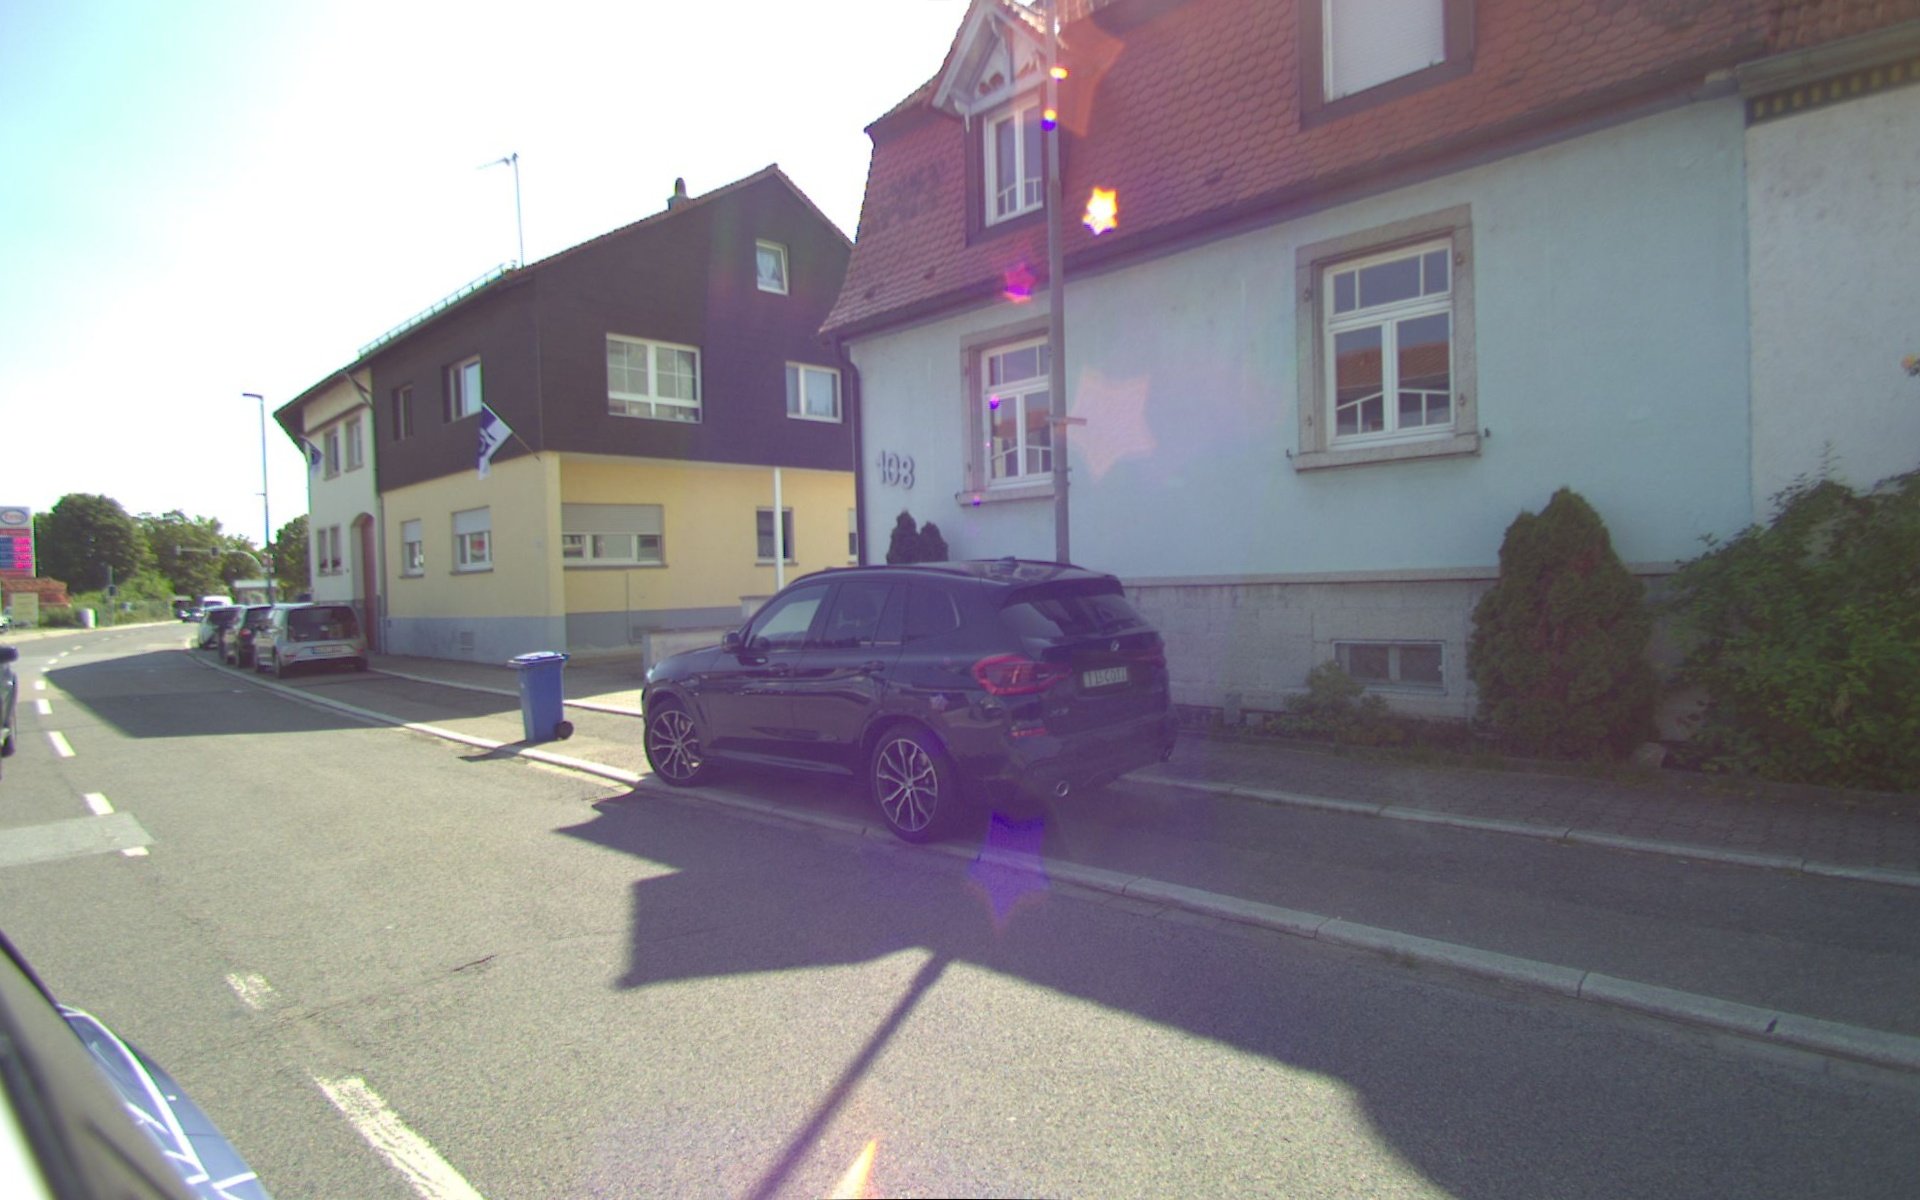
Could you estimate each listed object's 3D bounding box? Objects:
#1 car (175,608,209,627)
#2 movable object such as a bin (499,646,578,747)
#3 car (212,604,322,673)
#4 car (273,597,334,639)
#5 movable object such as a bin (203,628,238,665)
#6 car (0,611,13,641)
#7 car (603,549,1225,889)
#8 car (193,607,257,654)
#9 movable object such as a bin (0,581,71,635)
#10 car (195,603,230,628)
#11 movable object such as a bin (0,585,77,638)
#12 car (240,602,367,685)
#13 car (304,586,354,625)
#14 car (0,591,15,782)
[{"bbox_3d":[-71.752,1.615,94.564,1.815,1.604,4.119,-1,0,-27],"label":"car"},{"bbox_3d":[-4.553,1.024,10.924,0.531,0.989,0.590,-1,2,44],"label":"movable object such as a bin"},{"bbox_3d":[-17.399,0.904,25.333,1.659,1.447,4.001,-6,4,-42],"label":"car"},{"bbox_3d":[-31.468,0.810,48.616,1.811,1.806,4.357,-5,2,-25],"label":"car"},{"bbox_3d":[-20.308,1.271,27.787,0.825,0.935,0.545,-2,4,42],"label":"movable object such as a bin"},{"bbox_3d":[-53.238,1.426,53.913,4.129,1.567,1.772,-1,0,5],"label":"car"},{"bbox_3d":[-0.640,0.590,7.465,1.898,1.680,4.668,-5,3,-44],"label":"car"},{"bbox_3d":[-25.499,1.013,35.106,1.662,1.473,3.657,-3,1,-37],"label":"car"},{"bbox_3d":[-76.063,0.723,74.391,15.837,4.049,2.781,-1,0,-34],"label":"movable object such as a bin"},{"bbox_3d":[-77.854,1.572,105.475,1.906,2.521,5.857,-1,0,-27],"label":"car"},{"bbox_3d":[-79.893,1.001,81.373,13.076,4.197,2.870,-1,0,-34],"label":"movable object such as a bin"},{"bbox_3d":[-14.094,0.861,21.645,1.621,1.512,3.786,-5,3,-42],"label":"car"},{"bbox_3d":[-37.714,0.325,60.414,2.098,2.000,5.279,-7,4,-34],"label":"car"},{"bbox_3d":[-9.931,0.803,9.199,1.821,1.709,4.404,-1,-1,-41],"label":"car"}]
